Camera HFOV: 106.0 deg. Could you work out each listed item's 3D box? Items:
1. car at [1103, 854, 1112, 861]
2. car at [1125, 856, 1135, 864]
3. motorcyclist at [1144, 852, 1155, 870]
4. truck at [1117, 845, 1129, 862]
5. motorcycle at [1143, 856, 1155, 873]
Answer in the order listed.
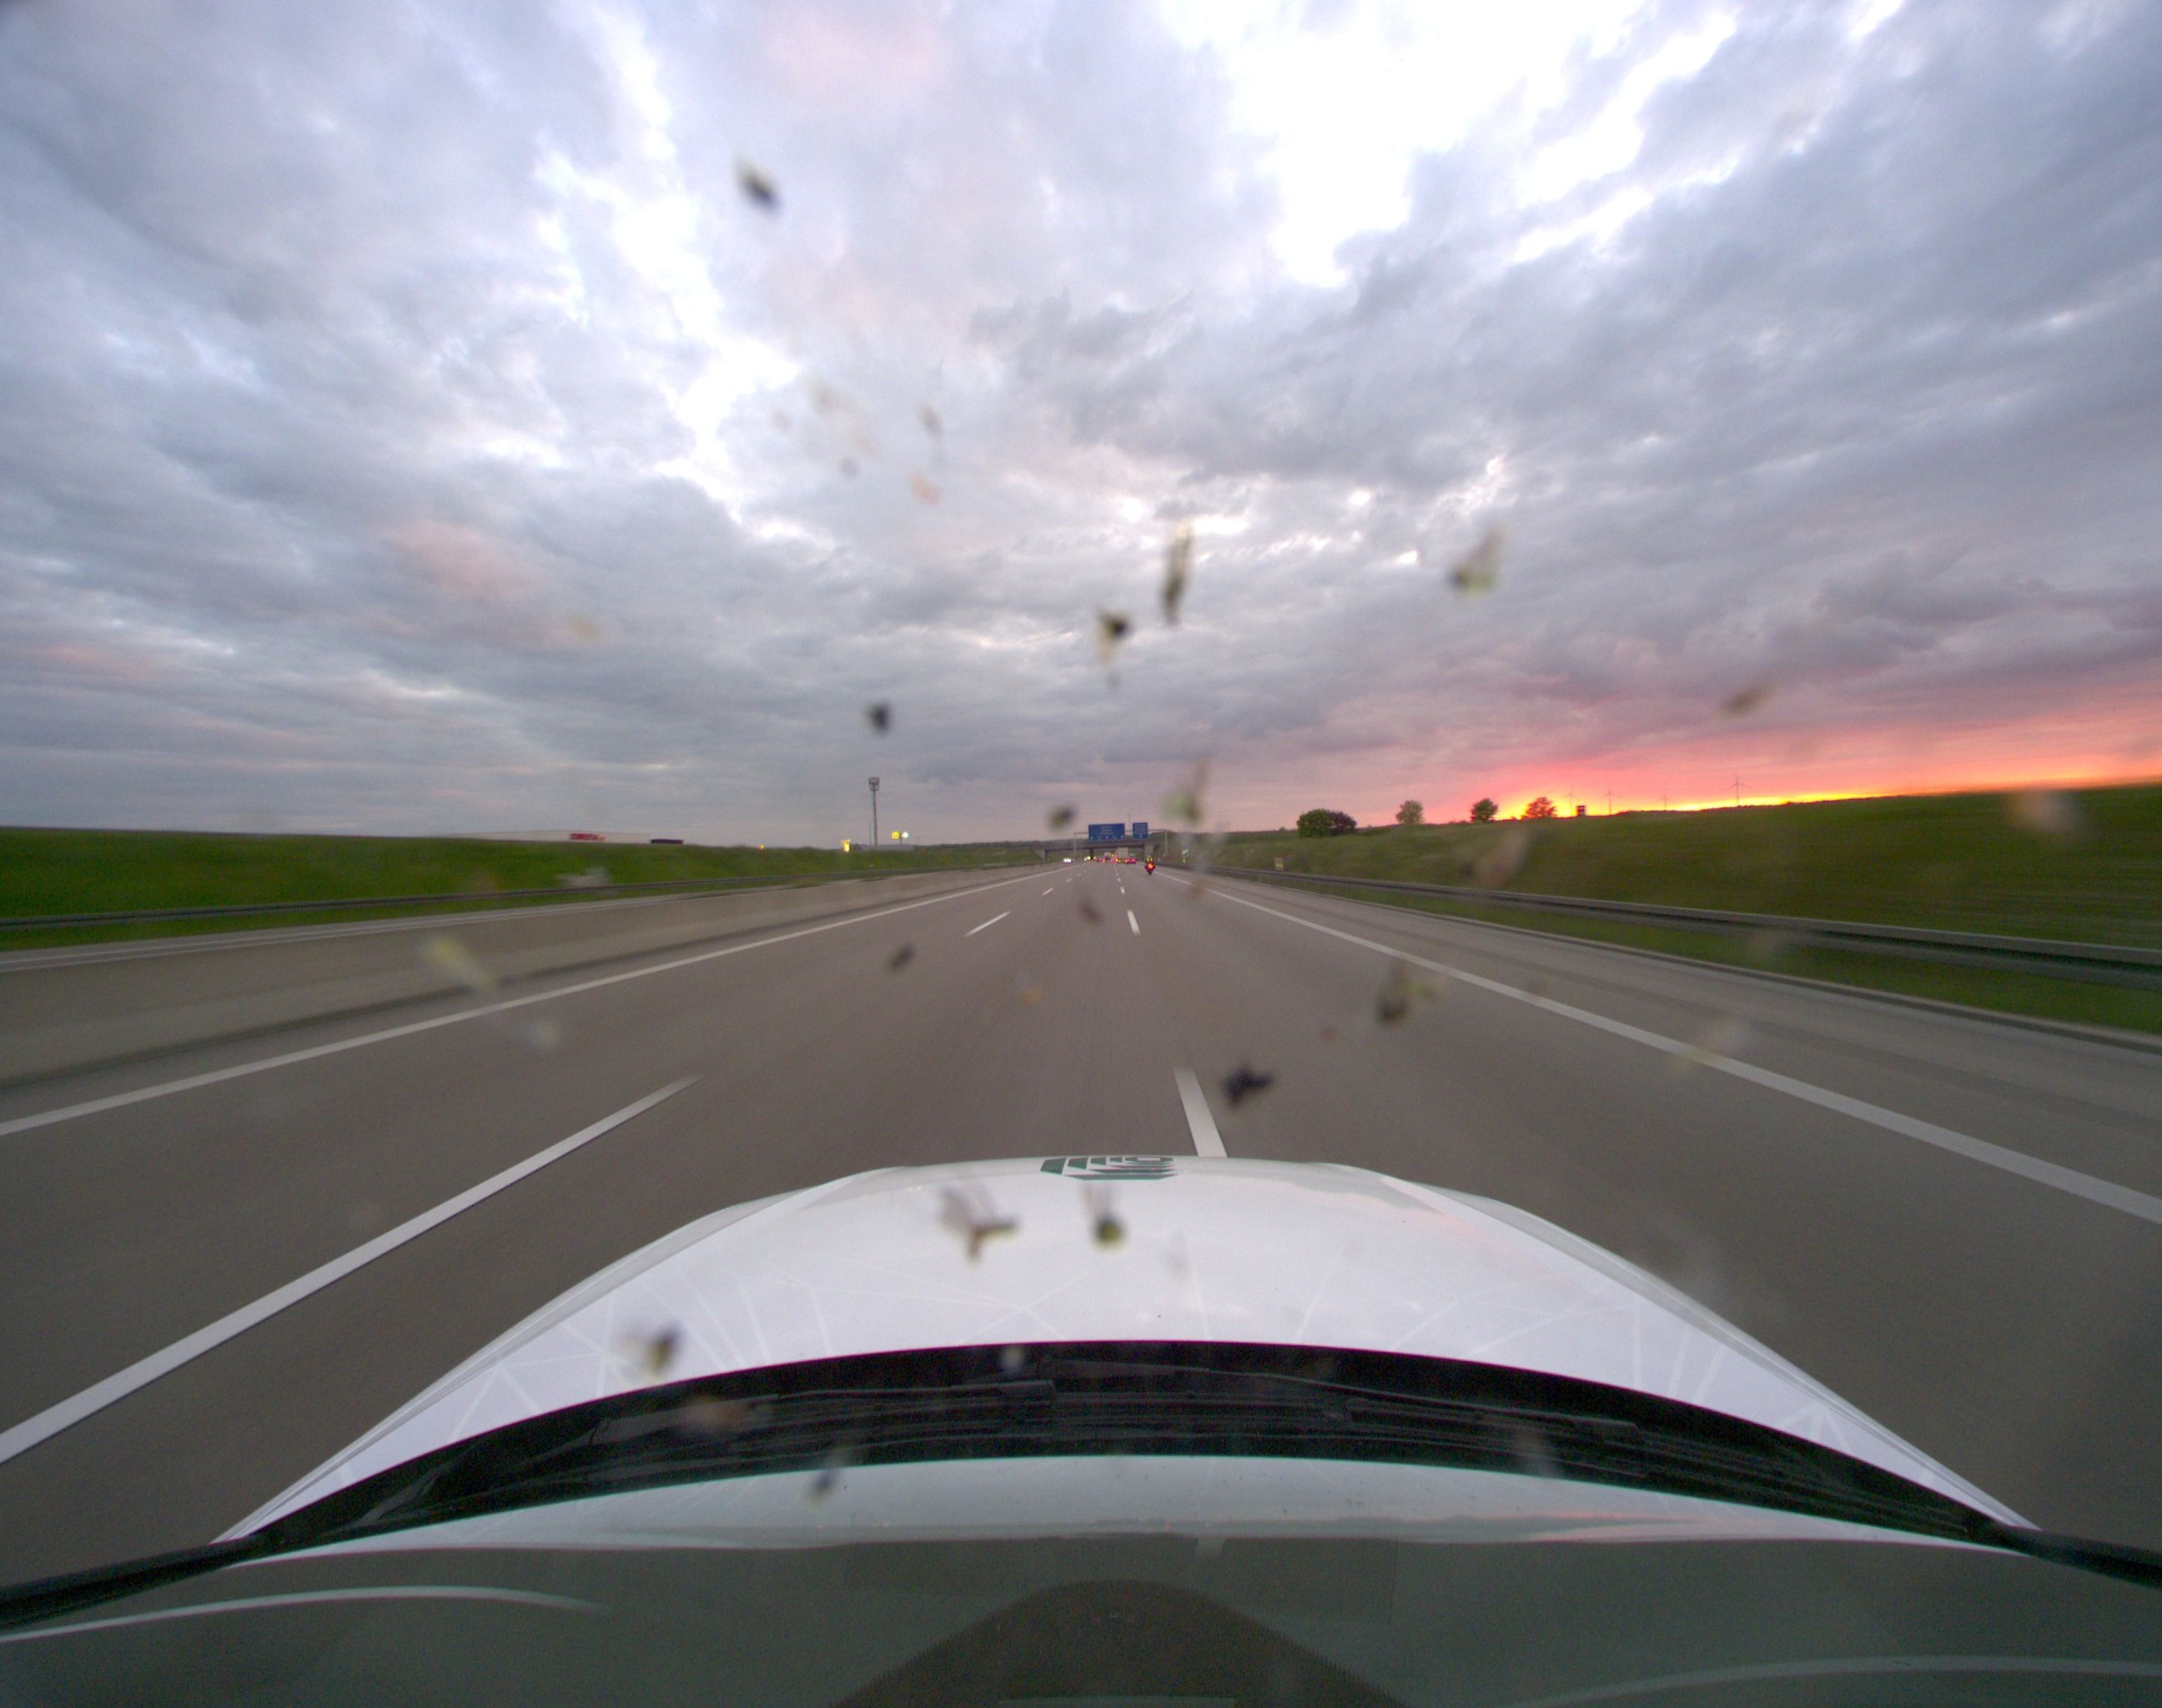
[{"bbox_3d":[8.213,1.083,253.491,2.507,2.391,6.497,-1,0,1],"label":"car"},{"bbox_3d":[10.302,1.265,170.215,1.911,1.579,4.001,-1,0,1],"label":"car"},{"bbox_3d":[5.845,0.601,69.716,0.862,1.487,1.169,0,0,3],"label":"motorcyclist"},{"bbox_3d":[10.936,-0.116,212.586,3.221,4.227,9.605,0,0,3],"label":"truck"},{"bbox_3d":[5.844,0.873,69.842,0.898,1.346,2.350,-1,1,2],"label":"motorcycle"}]
